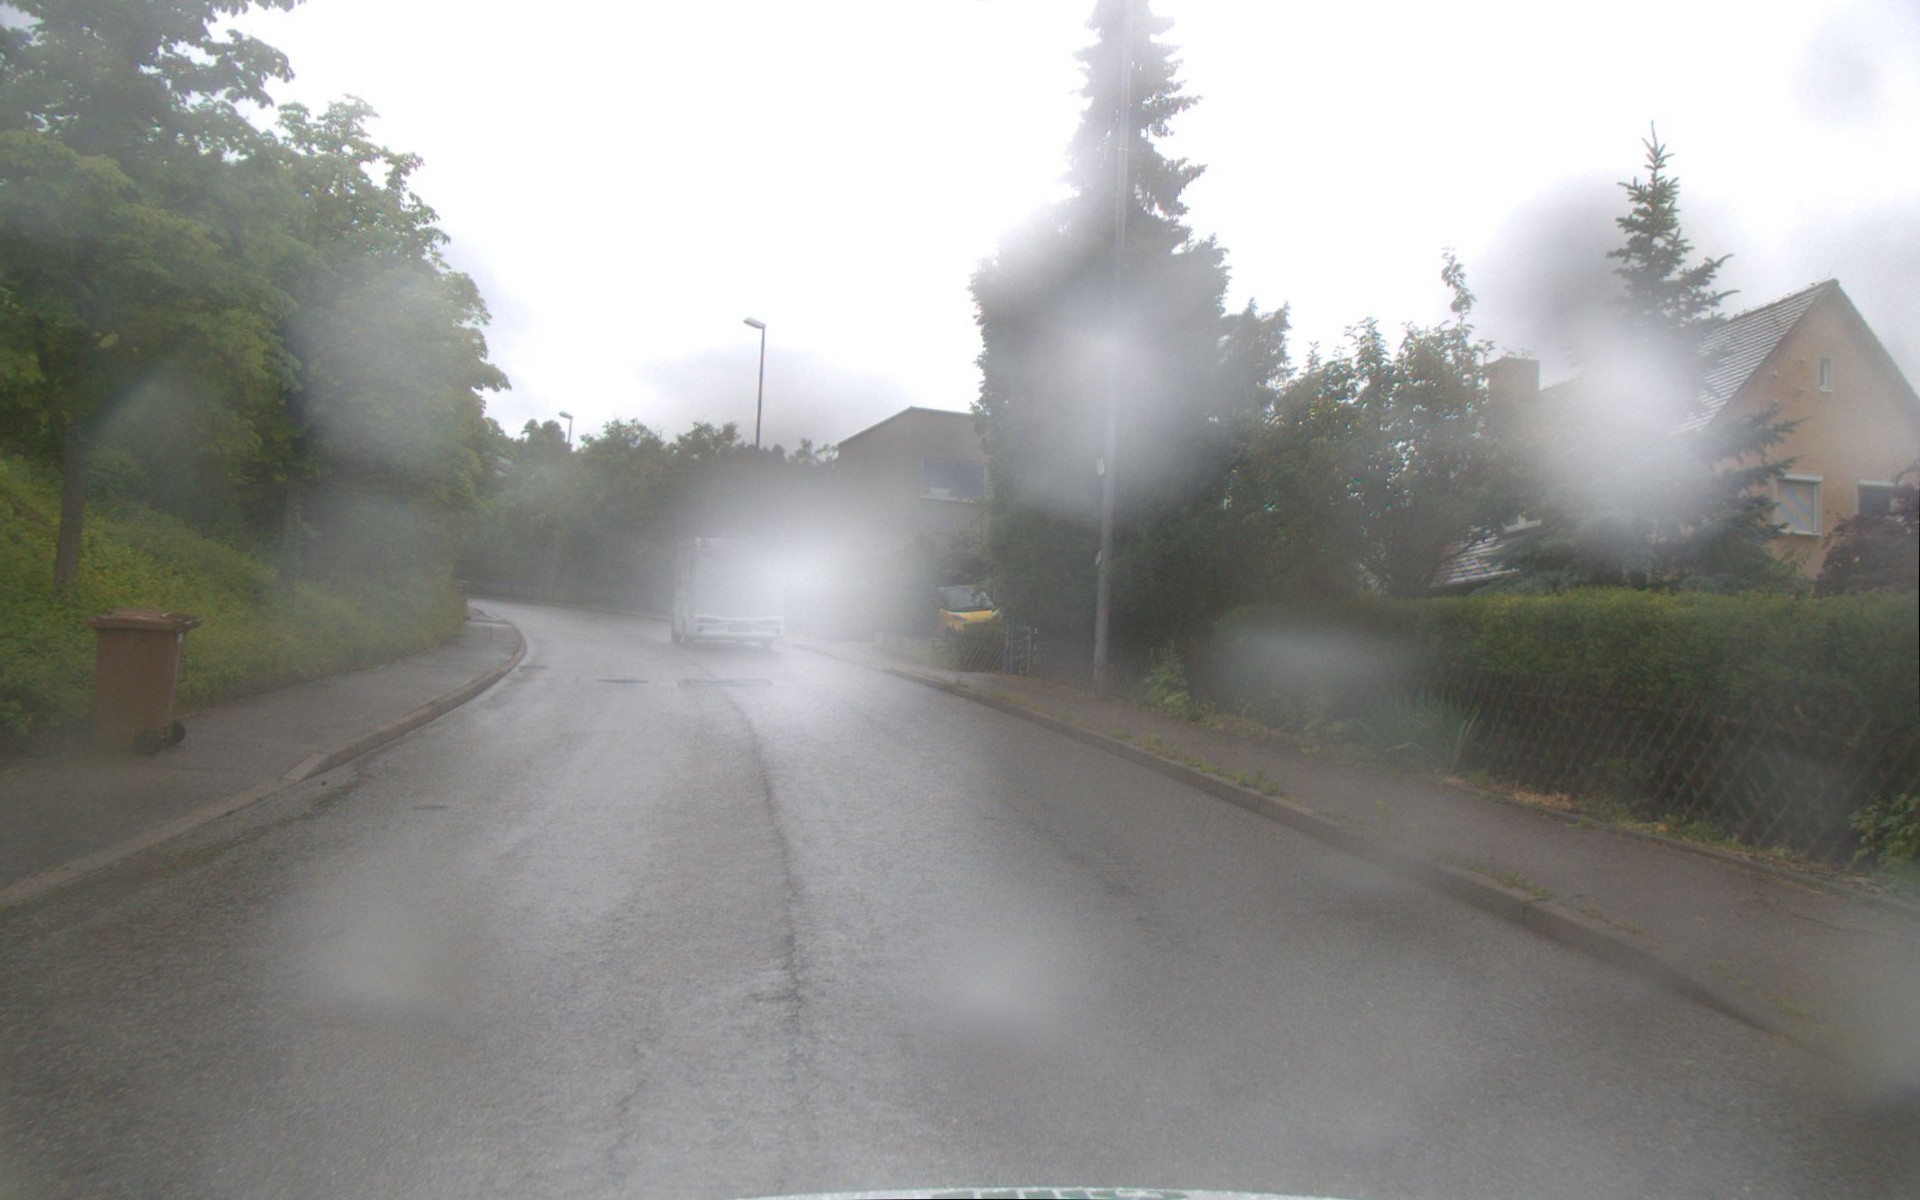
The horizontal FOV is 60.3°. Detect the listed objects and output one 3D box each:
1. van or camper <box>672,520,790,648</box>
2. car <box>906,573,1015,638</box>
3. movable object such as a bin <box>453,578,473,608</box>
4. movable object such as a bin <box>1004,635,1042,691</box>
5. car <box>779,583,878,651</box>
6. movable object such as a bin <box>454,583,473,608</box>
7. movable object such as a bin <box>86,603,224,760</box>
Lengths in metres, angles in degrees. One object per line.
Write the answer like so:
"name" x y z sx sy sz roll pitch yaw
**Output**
"van or camper" -5.916 -0.349 42.085 2.495 2.976 5.929 1 -1 -12
"car" -0.029 0.131 42.259 1.605 1.519 3.405 -4 1 -21
"movable object such as a bin" -19.234 -0.275 64.038 0.639 1.099 0.669 3 0 -21
"movable object such as a bin" 1.191 1.180 31.256 0.496 0.986 0.592 5 -1 -15
"car" -4.220 0.592 52.457 1.964 1.975 4.745 2 -3 -19
"movable object such as a bin" -19.001 -0.179 63.268 0.639 0.927 0.669 3 0 -21
"movable object such as a bin" -6.356 0.629 13.088 0.681 1.109 0.803 4 3 -4
